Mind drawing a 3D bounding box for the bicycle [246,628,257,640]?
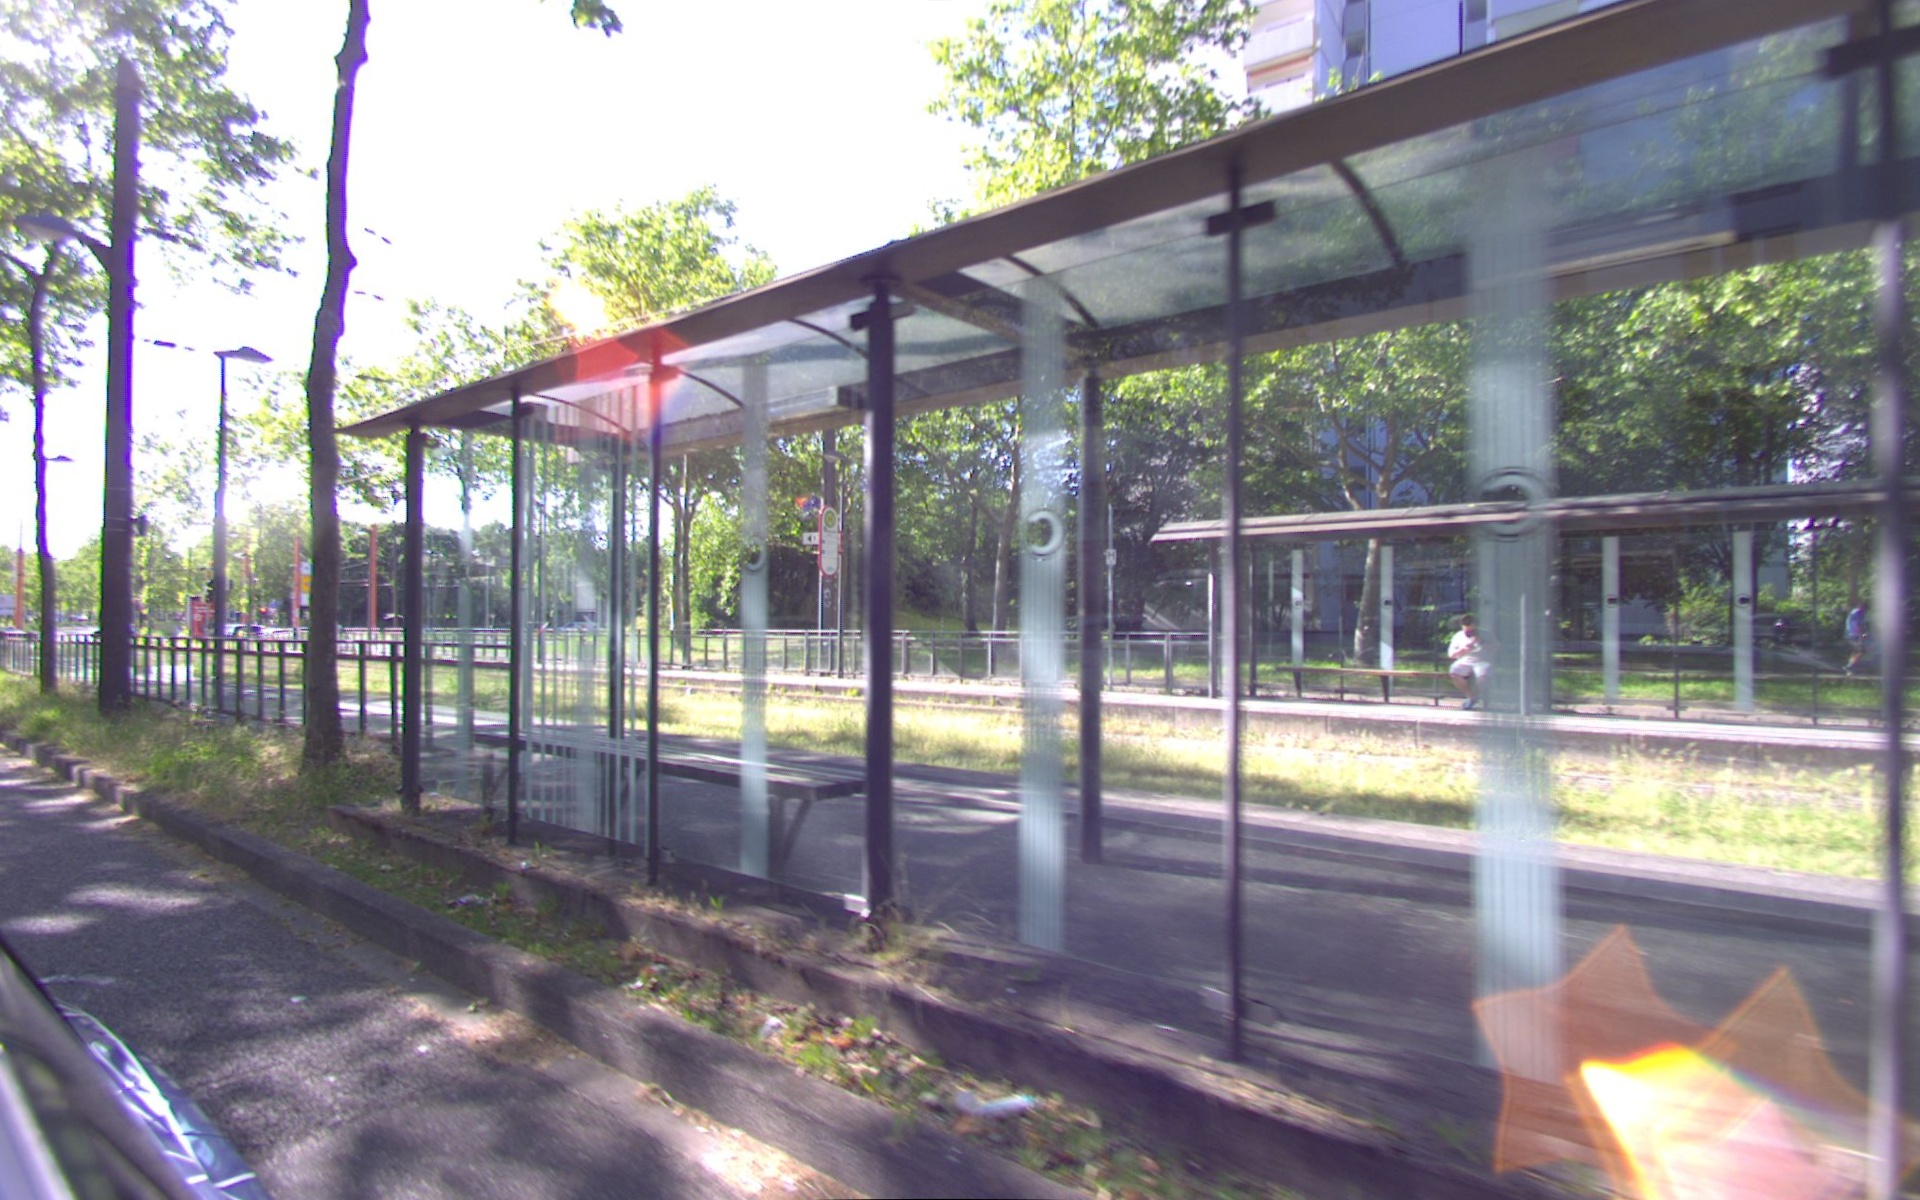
[{"bbox_3d":[-71.429,3.419,102.054,1.800,1.116,0.493,-1,-2,43],"label":"bicycle"}]

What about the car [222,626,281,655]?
[{"bbox_3d":[-41.005,2.328,58.573,4.264,1.620,1.776,-2,-2,40],"label":"car"}]

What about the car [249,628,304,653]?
[{"bbox_3d":[-42.783,2.517,63.310,4.264,1.522,1.776,-2,-2,40],"label":"car"}]

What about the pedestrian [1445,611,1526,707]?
[{"bbox_3d":[6.814,0.739,13.118,0.762,1.192,0.758,-2,-2,40],"label":"pedestrian"}]

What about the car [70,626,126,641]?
[{"bbox_3d":[-87.111,3.384,102.324,3.930,1.522,1.806,1,-3,-24],"label":"car"}]

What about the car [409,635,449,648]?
[{"bbox_3d":[-60.452,4.720,115.209,3.930,1.522,1.806,1,-3,-24],"label":"car"}]

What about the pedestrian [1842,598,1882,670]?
[{"bbox_3d":[21.487,0.811,24.115,0.650,1.674,0.641,-2,-2,41],"label":"pedestrian"}]
